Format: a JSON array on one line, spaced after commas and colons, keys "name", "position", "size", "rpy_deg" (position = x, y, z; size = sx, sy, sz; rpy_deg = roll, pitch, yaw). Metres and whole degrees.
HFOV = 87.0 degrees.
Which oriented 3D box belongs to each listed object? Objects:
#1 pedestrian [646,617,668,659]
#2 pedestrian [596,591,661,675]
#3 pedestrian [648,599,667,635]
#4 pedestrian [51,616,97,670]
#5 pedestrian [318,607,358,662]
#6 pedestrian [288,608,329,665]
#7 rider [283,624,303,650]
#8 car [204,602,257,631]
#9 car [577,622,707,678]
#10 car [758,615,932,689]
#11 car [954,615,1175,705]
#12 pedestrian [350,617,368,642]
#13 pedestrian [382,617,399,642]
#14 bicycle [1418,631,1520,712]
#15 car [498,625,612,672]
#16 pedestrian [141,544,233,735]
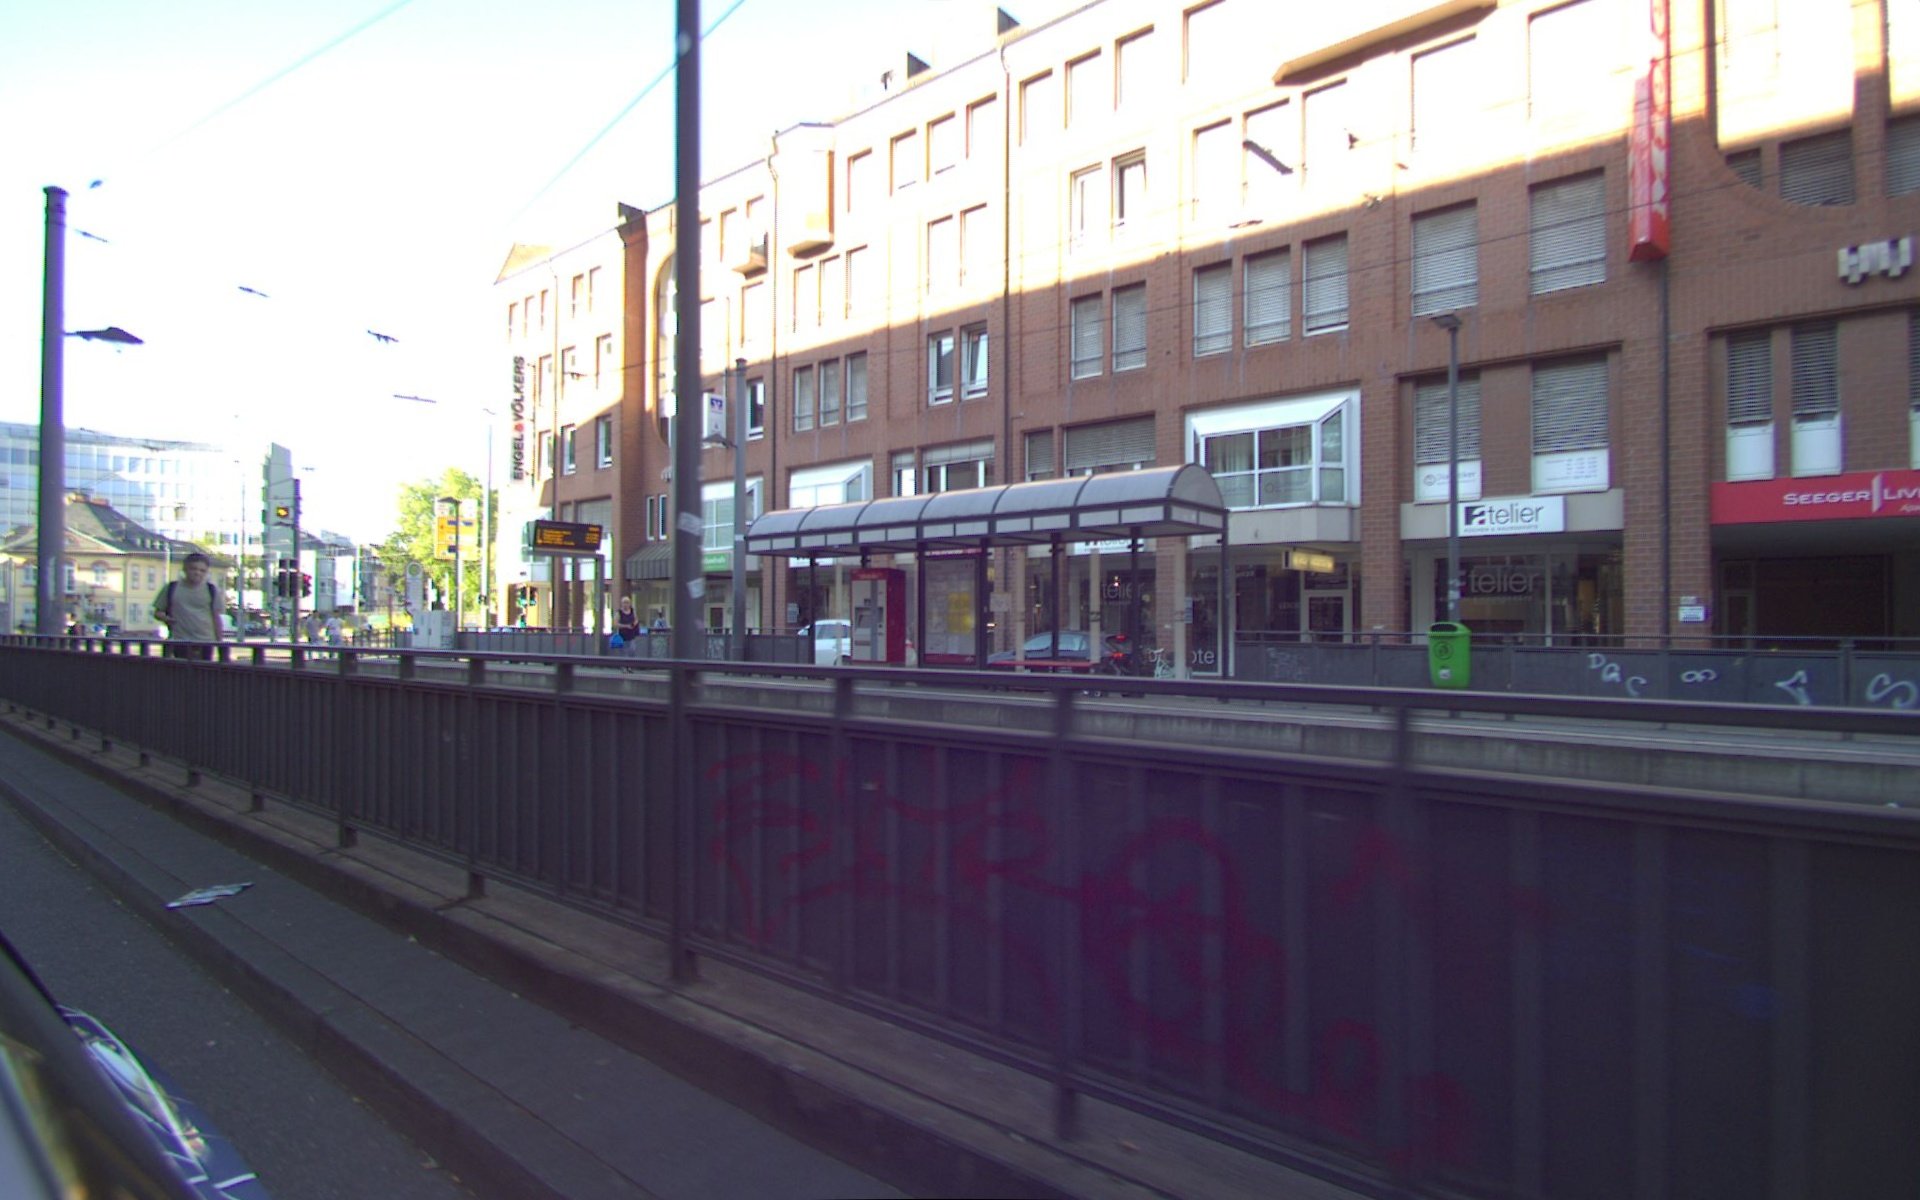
[{"name": "pedestrian", "position": [-12.171, 1.520, 40.660], "size": [0.636, 1.674, 0.605], "rpy_deg": [-1, -1, 39]}, {"name": "pedestrian", "position": [-6.804, 0.666, 20.778], "size": [0.966, 1.674, 0.902], "rpy_deg": [-1, -1, 39]}, {"name": "pedestrian", "position": [-13.962, 0.790, 46.694], "size": [0.636, 1.674, 0.605], "rpy_deg": [-1, -1, 39]}, {"name": "pedestrian", "position": [-30.567, 1.467, 34.908], "size": [0.852, 1.817, 0.808], "rpy_deg": [-1, 1, 12]}, {"name": "pedestrian", "position": [-20.848, 1.156, 33.906], "size": [0.810, 1.780, 0.850], "rpy_deg": [-1, 1, 37]}, {"name": "pedestrian", "position": [-21.368, 1.184, 33.180], "size": [0.809, 1.780, 0.851], "rpy_deg": [-1, 1, 35]}, {"name": "rider", "position": [-53.539, 2.986, 81.254], "size": [0.997, 2.029, 1.023], "rpy_deg": [-2, 1, -16]}, {"name": "car", "position": [-81.499, 1.800, 113.182], "size": [2.501, 3.071, 6.391], "rpy_deg": [2, -1, -13]}, {"name": "car", "position": [-9.879, 1.525, 31.336], "size": [4.193, 1.612, 1.874], "rpy_deg": [-2, -3, 39]}, {"name": "car", "position": [-2.942, 1.257, 25.349], "size": [4.289, 1.606, 1.890], "rpy_deg": [1, -2, 41]}, {"name": "car", "position": [2.123, 1.182, 21.208], "size": [4.289, 1.606, 1.890], "rpy_deg": [1, -2, 41]}, {"name": "pedestrian", "position": [-50.237, 2.490, 84.618], "size": [0.990, 2.029, 1.058], "rpy_deg": [-1, 1, 44]}, {"name": "pedestrian", "position": [-48.536, 2.497, 86.266], "size": [0.997, 2.029, 0.992], "rpy_deg": [-2, 1, -16]}, {"name": "bicycle", "position": [9.738, 1.318, 19.307], "size": [2.578, 1.291, 0.841], "rpy_deg": [-2, 1, -42]}, {"name": "car", "position": [-14.046, 1.650, 35.017], "size": [4.116, 1.541, 1.883], "rpy_deg": [-2, -3, 39]}, {"name": "pedestrian", "position": [-7.613, 0.376, 9.969], "size": [0.605, 1.805, 0.577], "rpy_deg": [-1, -1, 38]}]
